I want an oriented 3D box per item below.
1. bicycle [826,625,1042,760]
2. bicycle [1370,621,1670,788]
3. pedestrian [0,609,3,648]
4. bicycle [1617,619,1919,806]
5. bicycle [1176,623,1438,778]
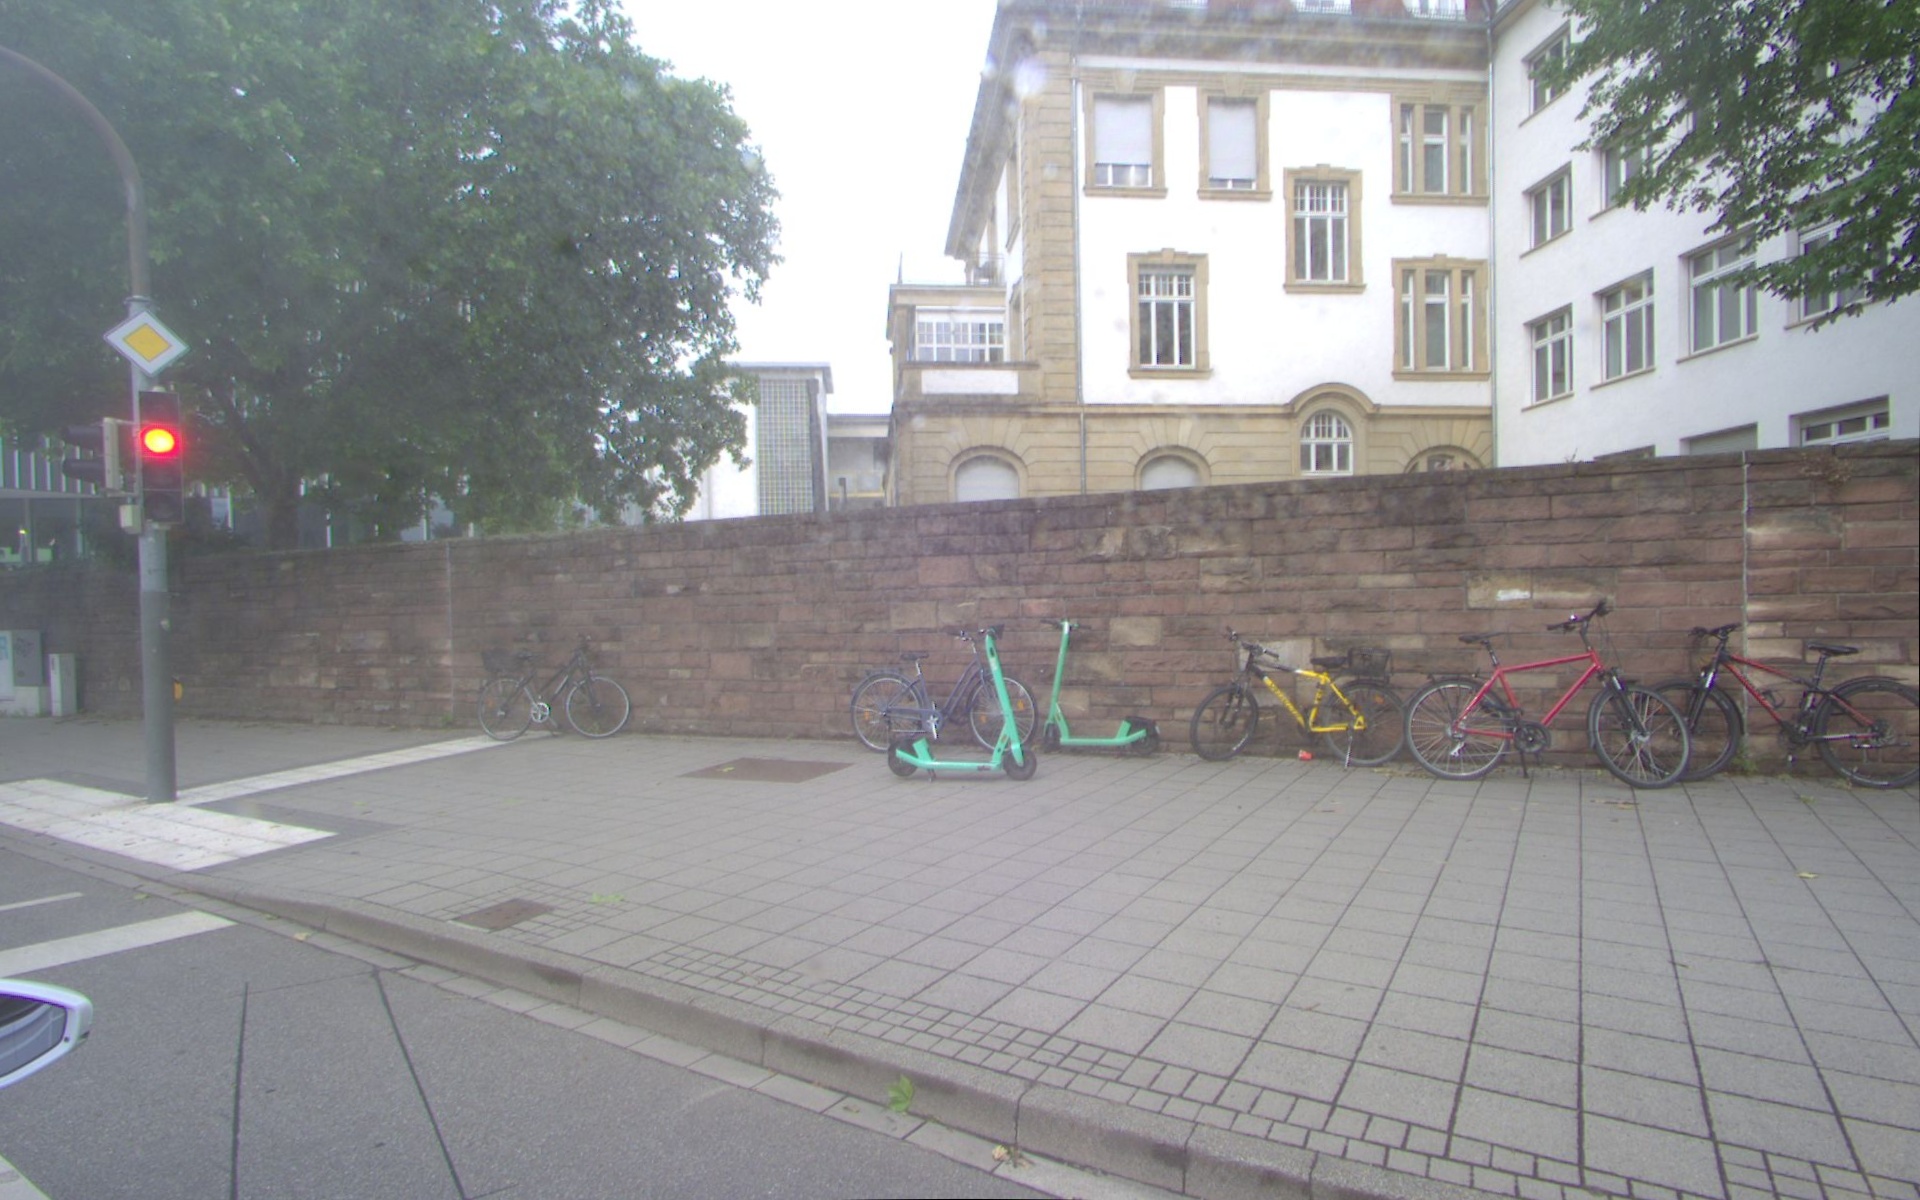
[{"bbox_3d":[-0.232,0.814,9.006,1.905,1.158,0.386,-1,-1,12],"label":"bicycle"},{"bbox_3d":[3.987,0.738,7.189,1.904,1.158,0.386,0,-1,1],"label":"bicycle"},{"bbox_3d":[-52.080,1.527,53.382,1.166,2.088,1.132,0,-1,-24],"label":"pedestrian"},{"bbox_3d":[5.455,0.711,6.544,1.907,1.158,0.339,-1,-1,17],"label":"bicycle"},{"bbox_3d":[2.684,0.767,7.889,1.905,1.158,0.386,-1,-1,12],"label":"bicycle"}]
